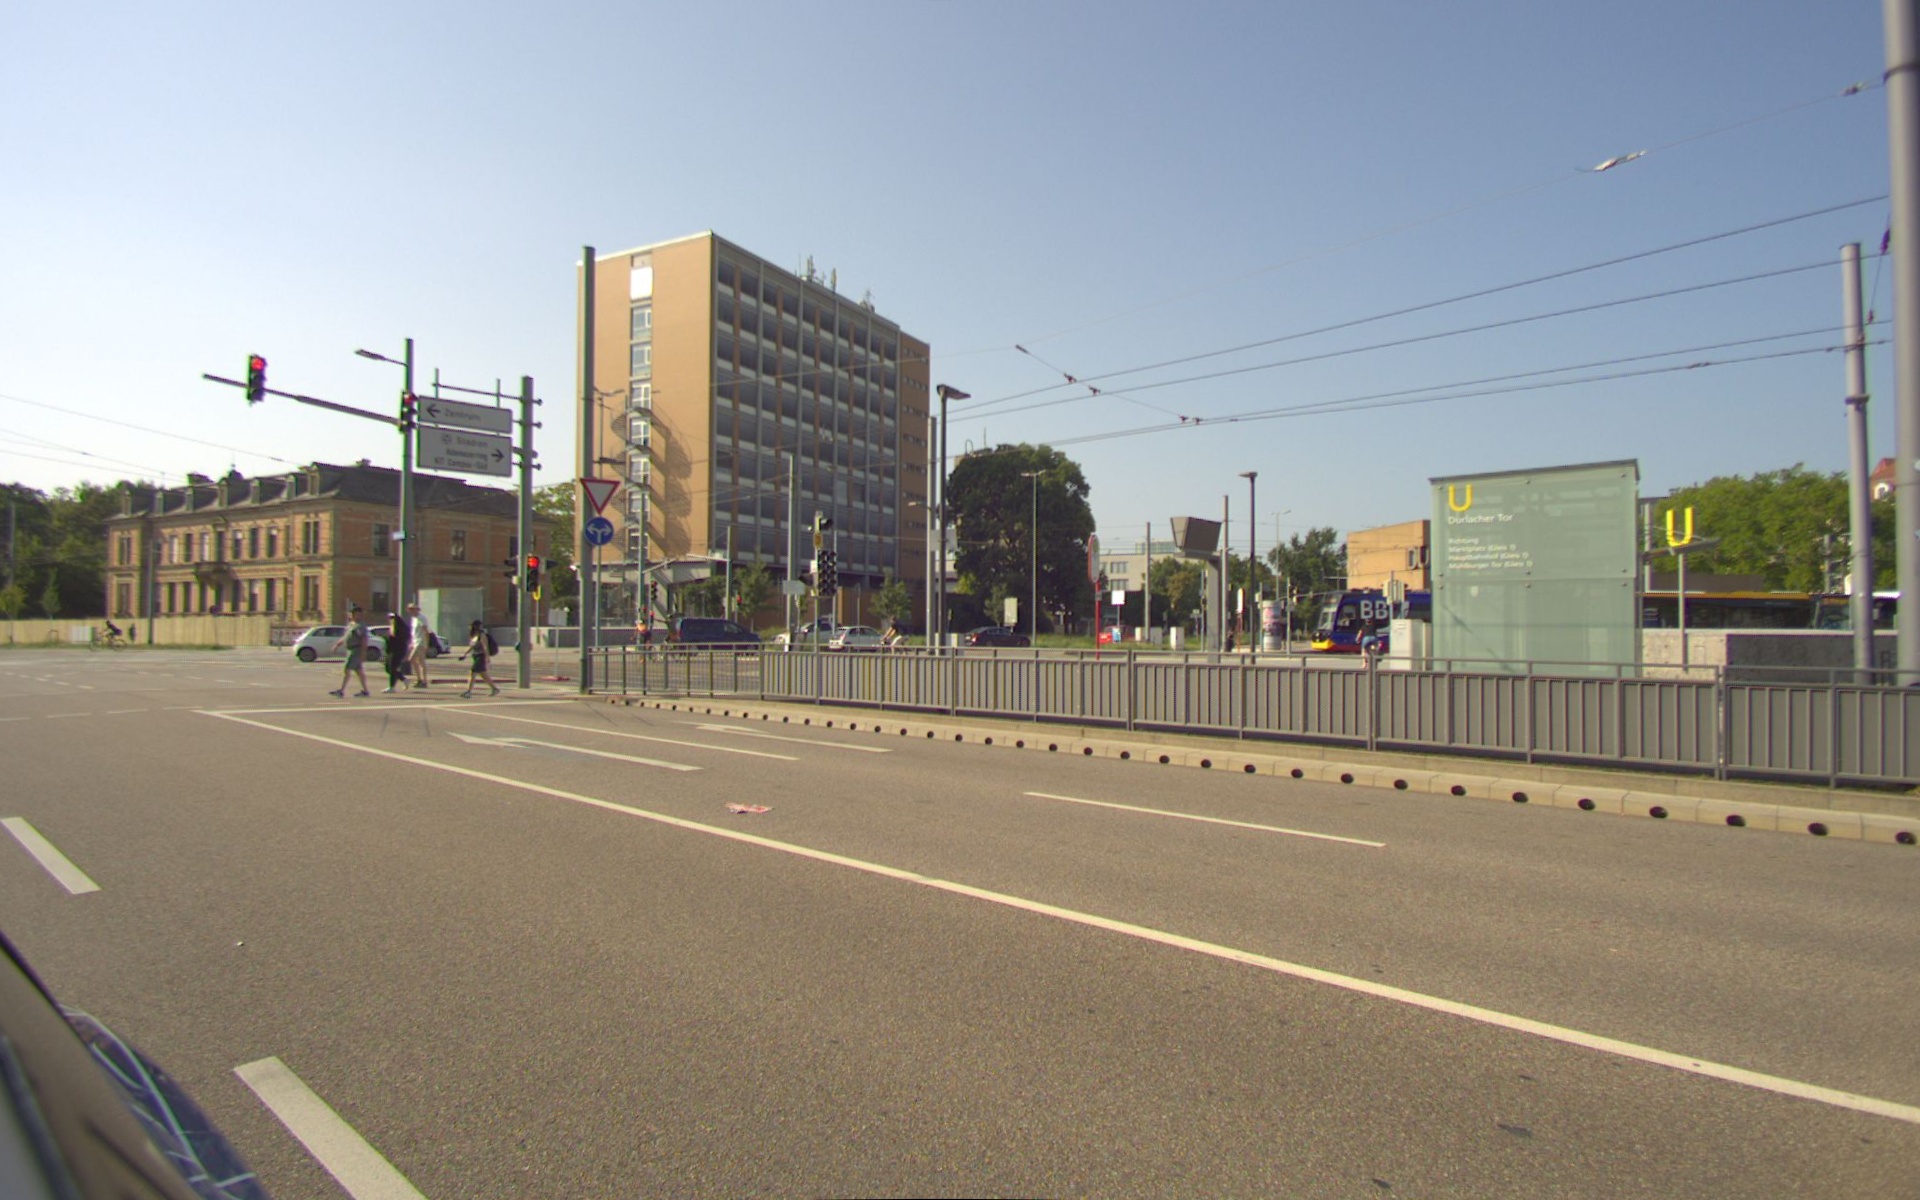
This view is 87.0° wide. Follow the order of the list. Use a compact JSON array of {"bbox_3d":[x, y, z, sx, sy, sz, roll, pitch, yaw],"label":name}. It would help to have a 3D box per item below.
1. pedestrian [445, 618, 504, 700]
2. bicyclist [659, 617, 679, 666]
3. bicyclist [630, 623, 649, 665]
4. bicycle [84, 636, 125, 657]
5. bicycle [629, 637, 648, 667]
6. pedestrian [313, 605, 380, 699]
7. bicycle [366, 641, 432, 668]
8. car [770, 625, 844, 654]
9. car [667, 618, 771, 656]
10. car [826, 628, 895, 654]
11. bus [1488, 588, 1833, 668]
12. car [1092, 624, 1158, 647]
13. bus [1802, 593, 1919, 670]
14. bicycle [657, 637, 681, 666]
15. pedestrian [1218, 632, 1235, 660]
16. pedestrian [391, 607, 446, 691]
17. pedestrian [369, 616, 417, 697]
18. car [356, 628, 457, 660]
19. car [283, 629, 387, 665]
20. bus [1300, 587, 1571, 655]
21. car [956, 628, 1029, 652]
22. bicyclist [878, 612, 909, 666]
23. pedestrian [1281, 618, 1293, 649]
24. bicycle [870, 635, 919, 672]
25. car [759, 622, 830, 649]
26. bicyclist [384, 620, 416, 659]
[{"bbox_3d":[-9.450,1.155,19.702,0.548,1.560,0.799,-1,-5,42],"label":"pedestrian"},{"bbox_3d":[-11.838,1.675,41.134,0.571,1.989,0.809,1,-3,-35],"label":"bicyclist"},{"bbox_3d":[-12.772,1.755,40.289,0.503,1.642,0.809,1,-3,-35],"label":"bicyclist"},{"bbox_3d":[-50.397,2.719,59.634,1.742,1.203,0.403,1,-2,-27],"label":"bicycle"},{"bbox_3d":[-12.814,2.062,40.356,0.306,1.174,1.503,1,-3,-34],"label":"bicycle"},{"bbox_3d":[-11.410,0.968,18.829,0.651,1.706,0.805,-1,-5,41],"label":"pedestrian"},{"bbox_3d":[-21.415,2.088,38.684,2.159,0.997,0.531,2,-2,-25],"label":"bicycle"},{"bbox_3d":[-9.727,2.526,64.461,4.217,1.720,1.957,1,-4,-33],"label":"car"},{"bbox_3d":[-11.897,1.829,50.025,4.690,1.842,1.809,1,-2,-26],"label":"car"},{"bbox_3d":[-5.656,2.308,57.749,3.495,1.446,1.809,1,-2,-29],"label":"car"},{"bbox_3d":[29.711,1.215,43.150,13.108,3.203,3.230,0,-2,-7],"label":"bus"},{"bbox_3d":[10.495,2.272,64.400,3.932,1.426,1.808,1,-2,-33],"label":"car"},{"bbox_3d":[44.609,1.414,44.705,13.107,3.203,3.230,0,-2,-7],"label":"bus"},{"bbox_3d":[-11.877,2.092,41.278,0.371,1.174,1.864,1,-3,-34],"label":"bicycle"},{"bbox_3d":[12.398,2.126,47.106,0.549,1.302,0.769,0,-2,-6],"label":"pedestrian"},{"bbox_3d":[-11.973,1.092,22.374,0.822,1.802,0.730,5,-5,-41],"label":"pedestrian"},{"bbox_3d":[-11.479,1.139,20.488,0.467,1.610,0.626,-1,-5,39],"label":"pedestrian"},{"bbox_3d":[-25.177,1.986,46.122,3.931,1.426,1.809,1,-2,-28],"label":"car"},{"bbox_3d":[-25.900,1.923,42.087,3.553,1.426,1.809,1,-2,-29],"label":"car"},{"bbox_3d":[25.071,1.167,53.676,13.112,3.445,3.229,0,-2,-5],"label":"bus"},{"bbox_3d":[2.058,2.509,63.479,4.276,1.463,1.809,1,-2,-30],"label":"car"},{"bbox_3d":[-2.085,1.217,31.830,0.790,1.669,0.581,-2,-3,41],"label":"bicyclist"},{"bbox_3d":[18.851,1.944,58.402,0.551,1.782,0.403,0,-2,-3],"label":"pedestrian"},{"bbox_3d":[-2.070,1.663,31.832,1.745,1.118,0.397,-1,-3,40],"label":"bicycle"},{"bbox_3d":[-10.933,2.380,67.056,4.216,1.720,1.931,1,-4,-31],"label":"car"},{"bbox_3d":[-21.406,1.502,38.690,0.955,1.486,1.091,1,-2,-24],"label":"bicyclist"}]
